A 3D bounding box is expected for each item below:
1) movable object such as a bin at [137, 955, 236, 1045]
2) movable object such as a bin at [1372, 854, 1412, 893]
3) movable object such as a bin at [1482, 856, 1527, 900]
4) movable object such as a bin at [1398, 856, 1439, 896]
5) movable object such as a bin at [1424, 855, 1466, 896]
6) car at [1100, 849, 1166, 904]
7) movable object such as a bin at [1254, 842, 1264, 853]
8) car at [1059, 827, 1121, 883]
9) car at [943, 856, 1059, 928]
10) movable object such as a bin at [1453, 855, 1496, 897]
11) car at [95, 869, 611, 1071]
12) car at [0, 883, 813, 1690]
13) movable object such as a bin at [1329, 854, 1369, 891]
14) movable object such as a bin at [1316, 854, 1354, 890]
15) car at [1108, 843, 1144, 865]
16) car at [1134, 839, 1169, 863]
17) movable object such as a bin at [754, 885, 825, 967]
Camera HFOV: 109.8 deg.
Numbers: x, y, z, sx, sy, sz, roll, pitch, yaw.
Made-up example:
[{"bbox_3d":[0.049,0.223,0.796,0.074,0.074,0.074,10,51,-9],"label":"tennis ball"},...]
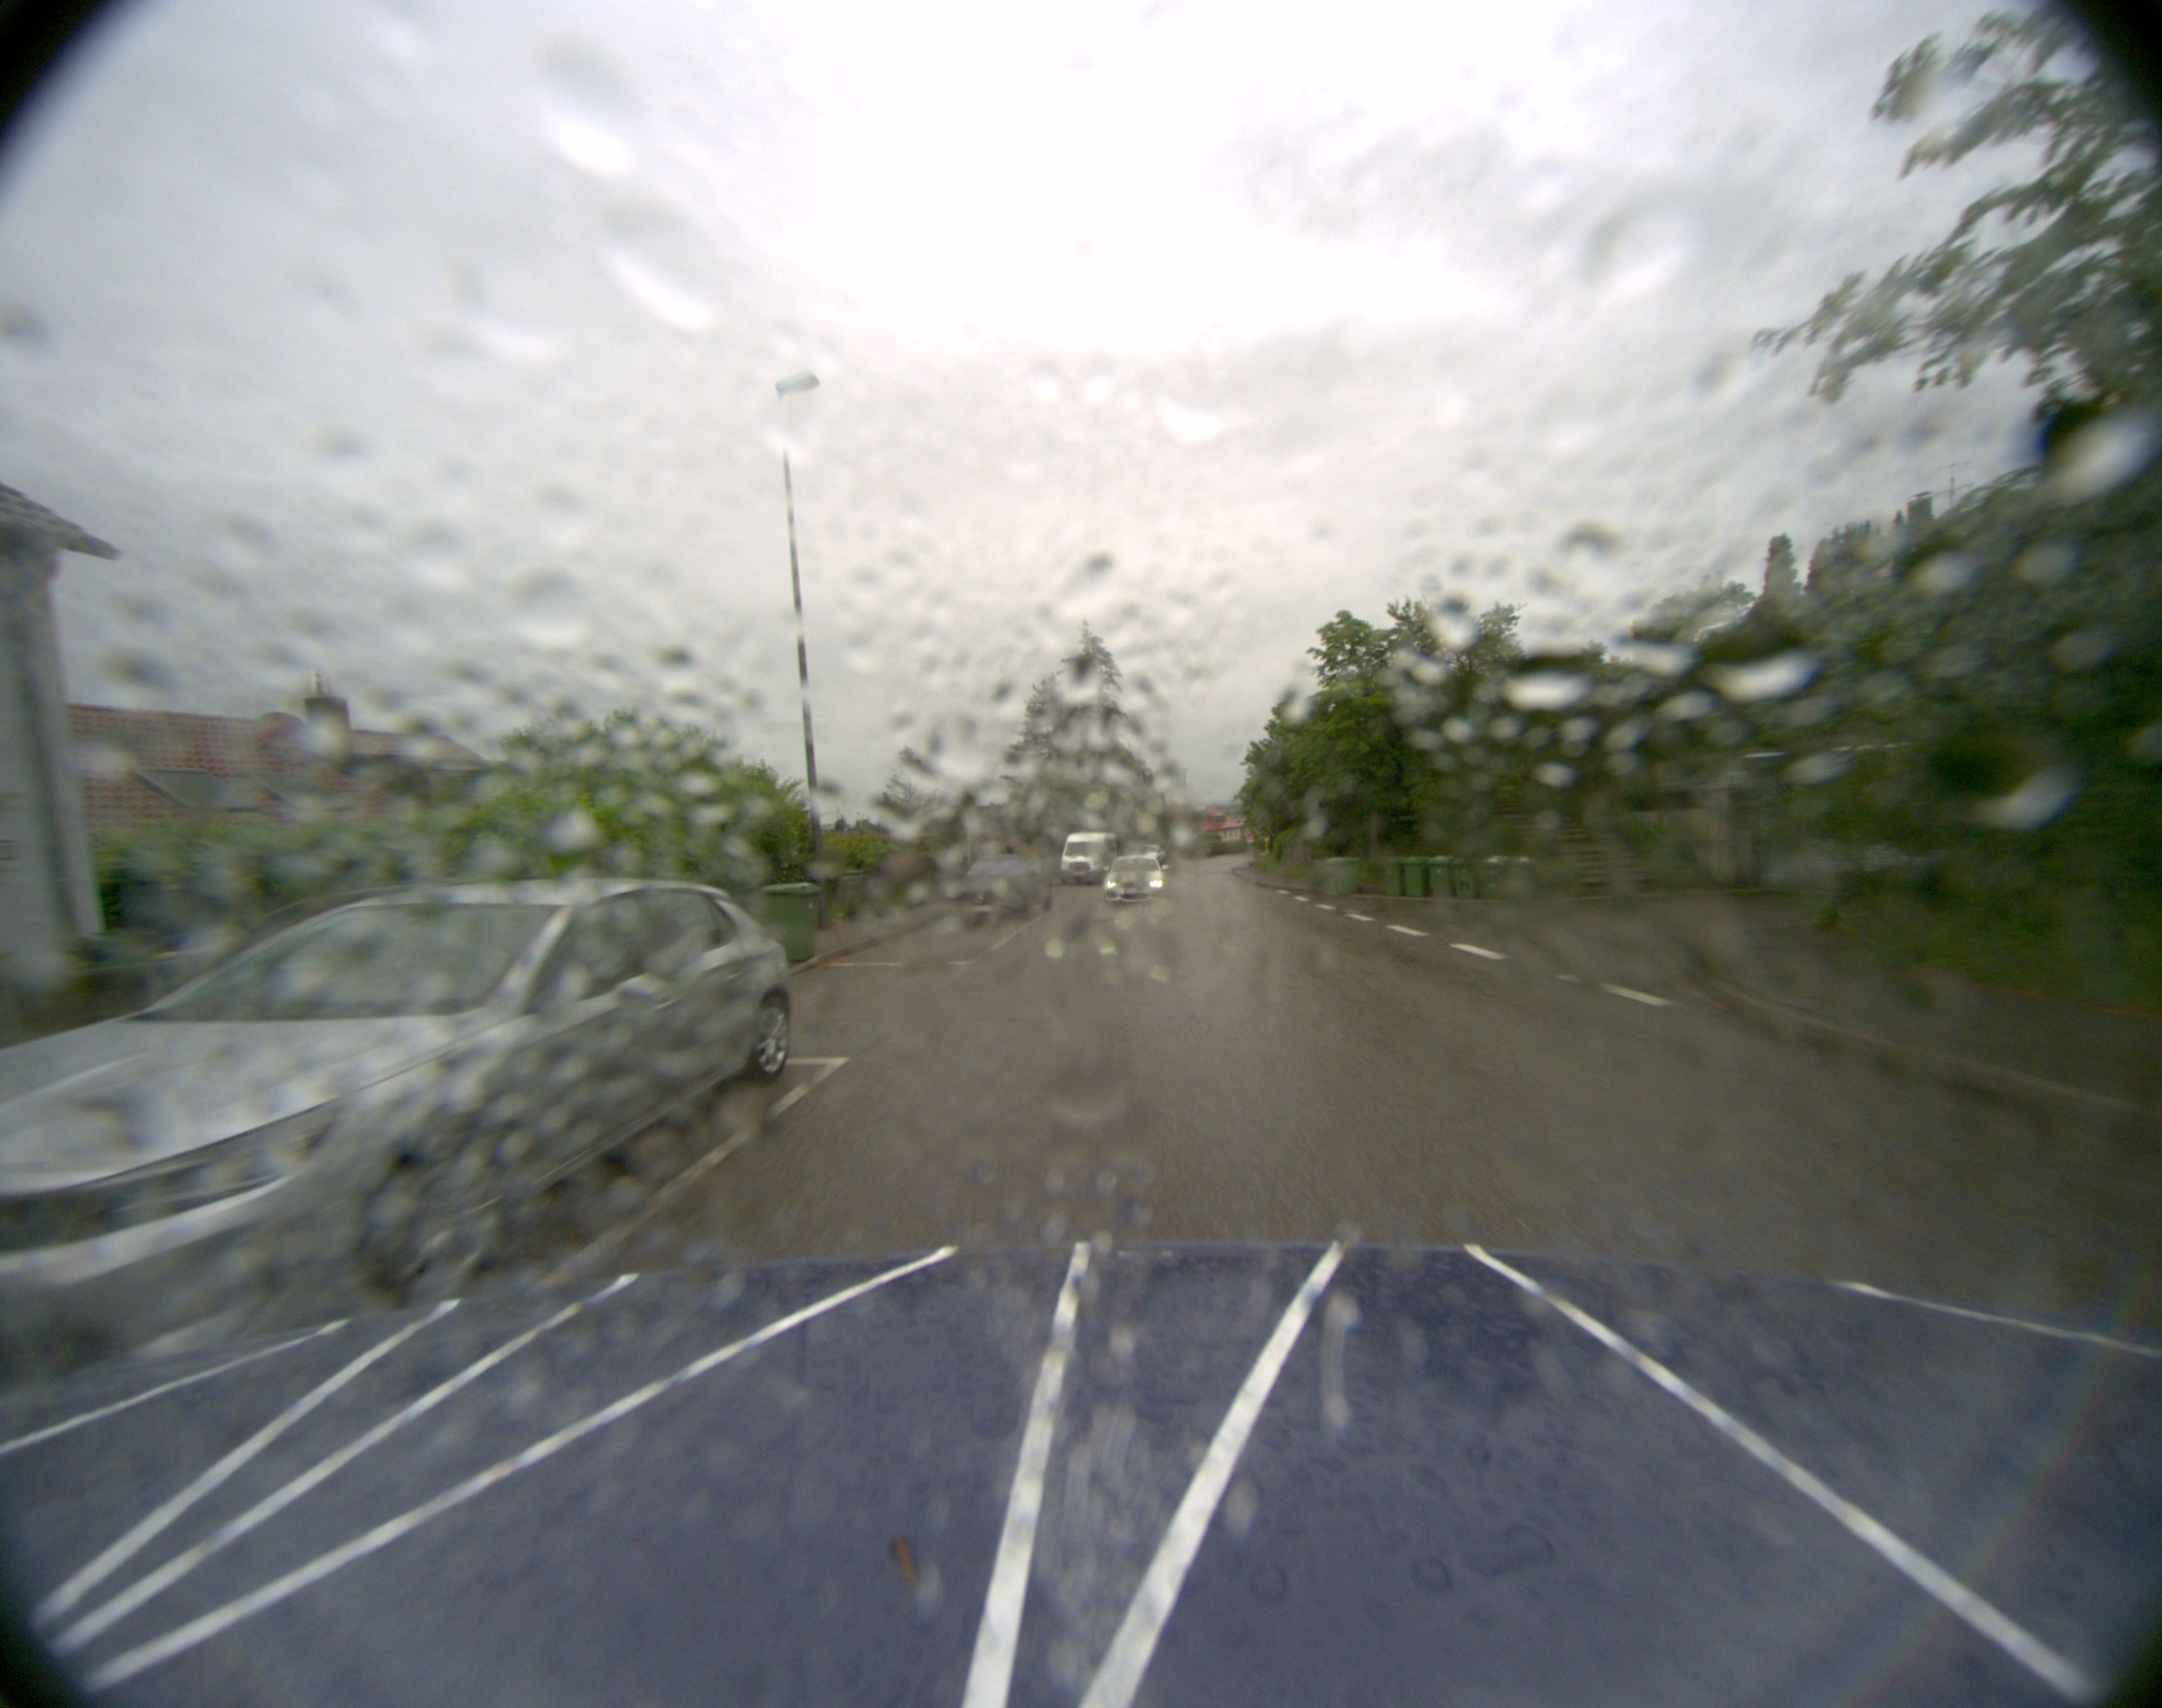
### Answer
[{"bbox_3d":[-11.663,1.893,9.920,0.576,1.061,0.565,-2,1,5],"label":"movable object such as a bin"},{"bbox_3d":[8.800,0.543,21.502,0.781,1.022,0.717,-6,3,-41],"label":"movable object such as a bin"},{"bbox_3d":[10.740,0.602,19.272,0.781,1.022,0.717,-6,3,-41],"label":"movable object such as a bin"},{"bbox_3d":[9.296,0.597,20.945,0.781,1.022,0.717,-6,3,-41],"label":"movable object such as a bin"},{"bbox_3d":[9.775,0.570,20.391,0.781,1.022,0.717,-6,3,-41],"label":"movable object such as a bin"},{"bbox_3d":[1.550,0.607,22.961,1.798,1.455,4.000,-1,1,4],"label":"car"},{"bbox_3d":[18.464,-0.675,78.759,0.880,1.024,0.804,-1,1,15],"label":"movable object such as a bin"},{"bbox_3d":[0.558,-0.011,37.811,2.076,2.535,6.185,-1,1,10],"label":"car"},{"bbox_3d":[-1.831,0.835,19.146,1.861,1.518,5.065,0,1,6],"label":"car"},{"bbox_3d":[10.265,0.578,19.828,0.781,1.022,0.717,-6,3,-41],"label":"movable object such as a bin"},{"bbox_3d":[-7.906,1.209,8.501,3.995,1.434,2.001,-8,1,8],"label":"car"},{"bbox_3d":[-3.016,0.971,3.683,1.772,1.458,4.235,0,1,2],"label":"car"},{"bbox_3d":[8.007,0.552,22.714,0.780,1.022,0.718,-5,2,-19],"label":"movable object such as a bin"},{"bbox_3d":[7.819,0.545,23.432,0.780,1.022,0.718,-5,2,-19],"label":"movable object such as a bin"},{"bbox_3d":[3.165,-0.017,52.814,1.752,1.415,4.003,-1,1,14],"label":"car"},{"bbox_3d":[5.523,-0.264,59.288,1.867,1.808,4.866,-1,1,15],"label":"car"},{"bbox_3d":[-4.055,0.993,10.604,0.677,1.061,0.645,-2,1,5],"label":"movable object such as a bin"}]
